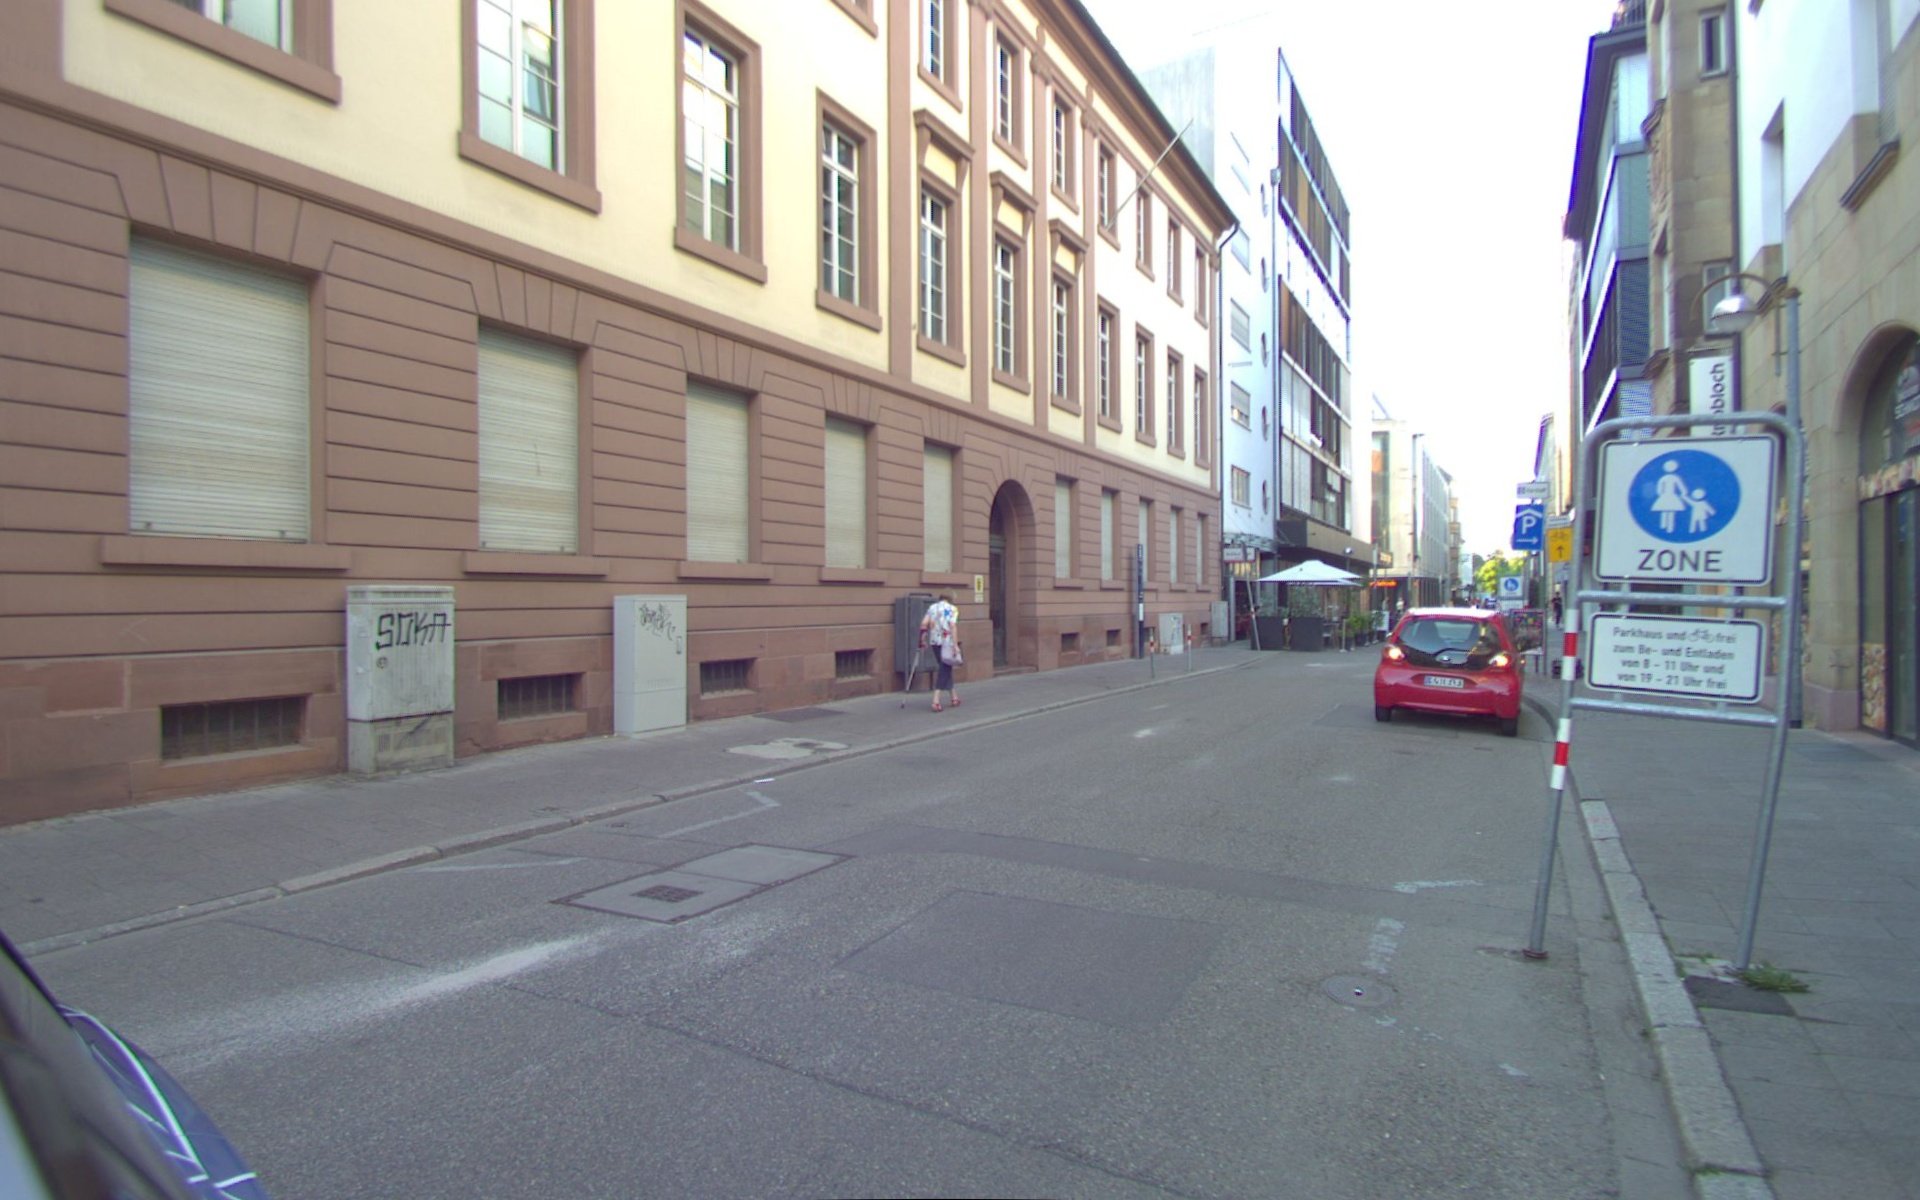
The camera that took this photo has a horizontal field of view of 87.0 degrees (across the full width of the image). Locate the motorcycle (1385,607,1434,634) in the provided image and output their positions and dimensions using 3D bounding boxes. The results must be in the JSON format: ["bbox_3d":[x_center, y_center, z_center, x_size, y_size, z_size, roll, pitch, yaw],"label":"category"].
[{"bbox_3d":[22.586,1.016,50.891,2.187,1.292,0.644,0,0,32],"label":"motorcycle"}]

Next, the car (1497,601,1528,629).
[{"bbox_3d":[30.223,0.815,55.370,1.421,1.428,3.857,-2,-1,29],"label":"car"}]

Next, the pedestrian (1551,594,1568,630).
[{"bbox_3d":[28.146,0.558,47.540,0.668,1.684,0.756,0,-1,31],"label":"pedestrian"}]

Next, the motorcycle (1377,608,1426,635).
[{"bbox_3d":[21.895,1.064,50.201,2.187,1.292,0.644,0,0,32],"label":"motorcycle"}]

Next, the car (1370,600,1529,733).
[{"bbox_3d":[6.505,0.762,13.293,1.632,1.452,3.125,2,1,30],"label":"car"}]

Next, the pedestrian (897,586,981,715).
[{"bbox_3d":[-0.278,0.661,13.852,0.808,1.684,0.922,0,-1,28],"label":"pedestrian"}]

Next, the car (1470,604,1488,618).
[{"bbox_3d":[49.922,1.024,97.316,1.421,1.310,3.528,-2,-1,29],"label":"car"}]

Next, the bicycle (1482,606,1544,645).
[{"bbox_3d":[16.720,0.777,30.612,1.602,1.127,0.613,-2,-2,31],"label":"bicycle"}]

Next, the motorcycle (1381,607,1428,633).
[{"bbox_3d":[23.070,1.032,52.583,2.187,1.292,0.644,0,0,32],"label":"motorcycle"}]

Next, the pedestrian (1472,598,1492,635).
[{"bbox_3d":[24.069,0.767,46.693,0.808,1.684,0.922,0,-1,28],"label":"pedestrian"}]

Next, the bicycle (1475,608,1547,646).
[{"bbox_3d":[17.408,0.849,31.984,1.947,1.139,0.613,-2,-2,31],"label":"bicycle"}]
